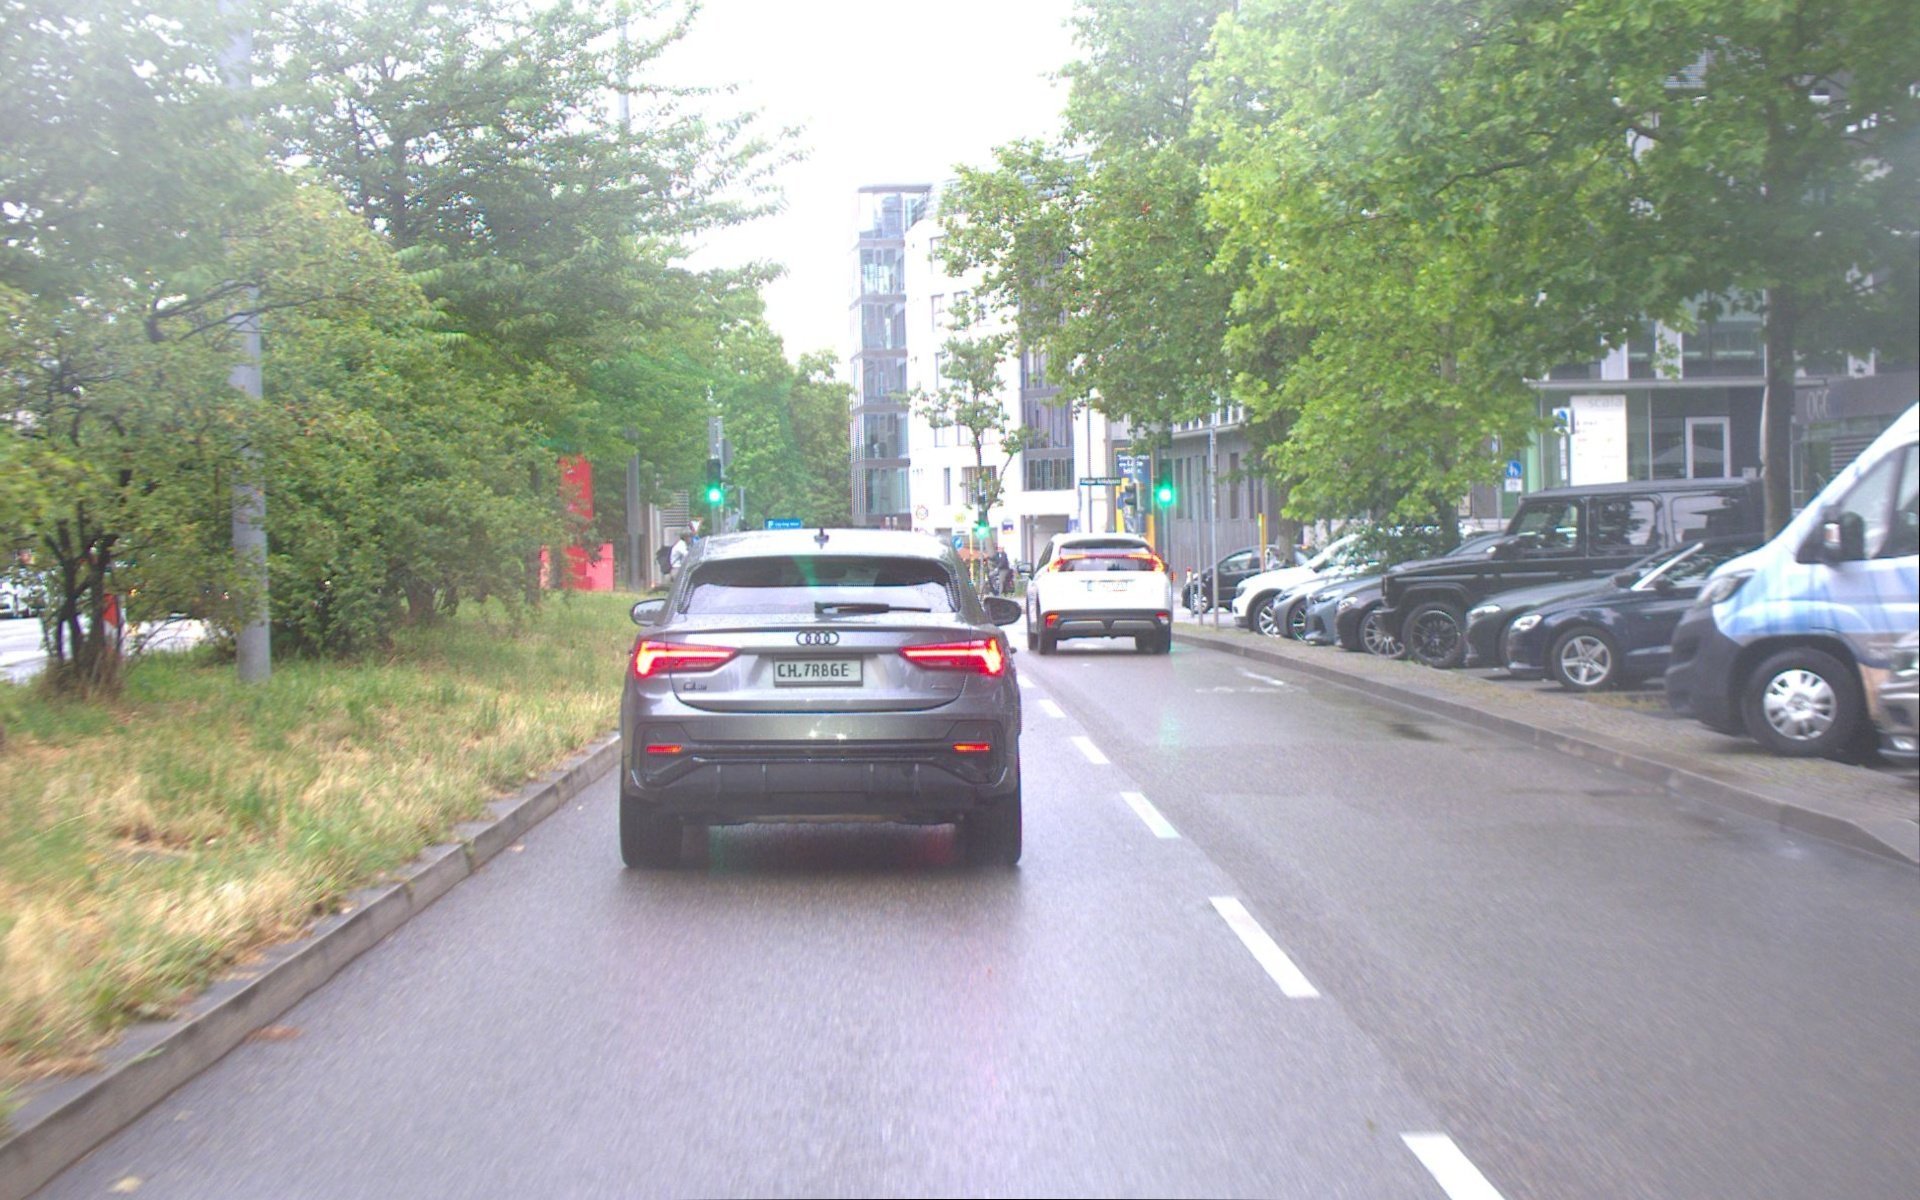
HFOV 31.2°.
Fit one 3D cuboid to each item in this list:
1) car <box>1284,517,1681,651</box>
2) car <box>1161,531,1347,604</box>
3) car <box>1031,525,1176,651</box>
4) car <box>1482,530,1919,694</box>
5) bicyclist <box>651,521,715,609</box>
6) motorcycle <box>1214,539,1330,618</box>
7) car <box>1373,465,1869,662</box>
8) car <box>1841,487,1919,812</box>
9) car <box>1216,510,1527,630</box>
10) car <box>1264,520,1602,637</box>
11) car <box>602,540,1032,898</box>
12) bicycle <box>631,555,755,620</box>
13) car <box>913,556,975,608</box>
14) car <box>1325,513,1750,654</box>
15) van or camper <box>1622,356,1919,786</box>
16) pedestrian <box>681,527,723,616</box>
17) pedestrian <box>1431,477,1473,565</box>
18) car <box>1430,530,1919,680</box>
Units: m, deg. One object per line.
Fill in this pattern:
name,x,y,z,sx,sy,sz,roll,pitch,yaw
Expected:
car,6.649,-0.206,43.628,4.778,1.528,1.868,-2,1,15
car,6.467,-0.701,75.812,3.861,1.562,1.664,0,0,42
car,1.950,-0.185,47.659,1.849,1.663,4.039,0,1,0
car,7.181,0.103,31.623,4.371,1.431,1.759,0,1,26
bicyclist,-5.238,-0.659,65.012,1.104,1.616,0.751,2,0,-1
motorcycle,5.577,-0.383,61.363,2.029,1.410,0.725,0,0,9
car,7.217,-0.388,37.609,4.943,1.972,1.927,-1,1,26
car,6.867,0.247,17.645,4.262,1.662,1.816,0,1,26
car,6.170,-0.447,51.629,4.223,1.663,1.836,-1,1,27
car,6.630,-0.297,48.276,4.300,1.483,1.840,-1,1,29
car,-0.637,0.480,16.874,1.849,1.518,4.039,0,1,-1
bicycle,-5.046,-0.232,65.011,2.254,1.158,0.751,2,0,-1
car,-0.465,-0.559,103.882,1.849,1.518,4.039,0,1,0
car,6.786,-0.195,40.434,4.560,1.501,1.867,-1,1,25
van or camper,7.271,-0.195,20.740,6.074,2.549,2.102,0,1,27
pedestrian,-5.216,-0.568,69.591,0.662,1.787,0.750,0,0,12
pedestrian,11.951,-1.908,83.441,0.936,2.108,1.075,0,0,12
car,7.269,0.057,34.647,4.630,1.390,1.844,-1,0,29
